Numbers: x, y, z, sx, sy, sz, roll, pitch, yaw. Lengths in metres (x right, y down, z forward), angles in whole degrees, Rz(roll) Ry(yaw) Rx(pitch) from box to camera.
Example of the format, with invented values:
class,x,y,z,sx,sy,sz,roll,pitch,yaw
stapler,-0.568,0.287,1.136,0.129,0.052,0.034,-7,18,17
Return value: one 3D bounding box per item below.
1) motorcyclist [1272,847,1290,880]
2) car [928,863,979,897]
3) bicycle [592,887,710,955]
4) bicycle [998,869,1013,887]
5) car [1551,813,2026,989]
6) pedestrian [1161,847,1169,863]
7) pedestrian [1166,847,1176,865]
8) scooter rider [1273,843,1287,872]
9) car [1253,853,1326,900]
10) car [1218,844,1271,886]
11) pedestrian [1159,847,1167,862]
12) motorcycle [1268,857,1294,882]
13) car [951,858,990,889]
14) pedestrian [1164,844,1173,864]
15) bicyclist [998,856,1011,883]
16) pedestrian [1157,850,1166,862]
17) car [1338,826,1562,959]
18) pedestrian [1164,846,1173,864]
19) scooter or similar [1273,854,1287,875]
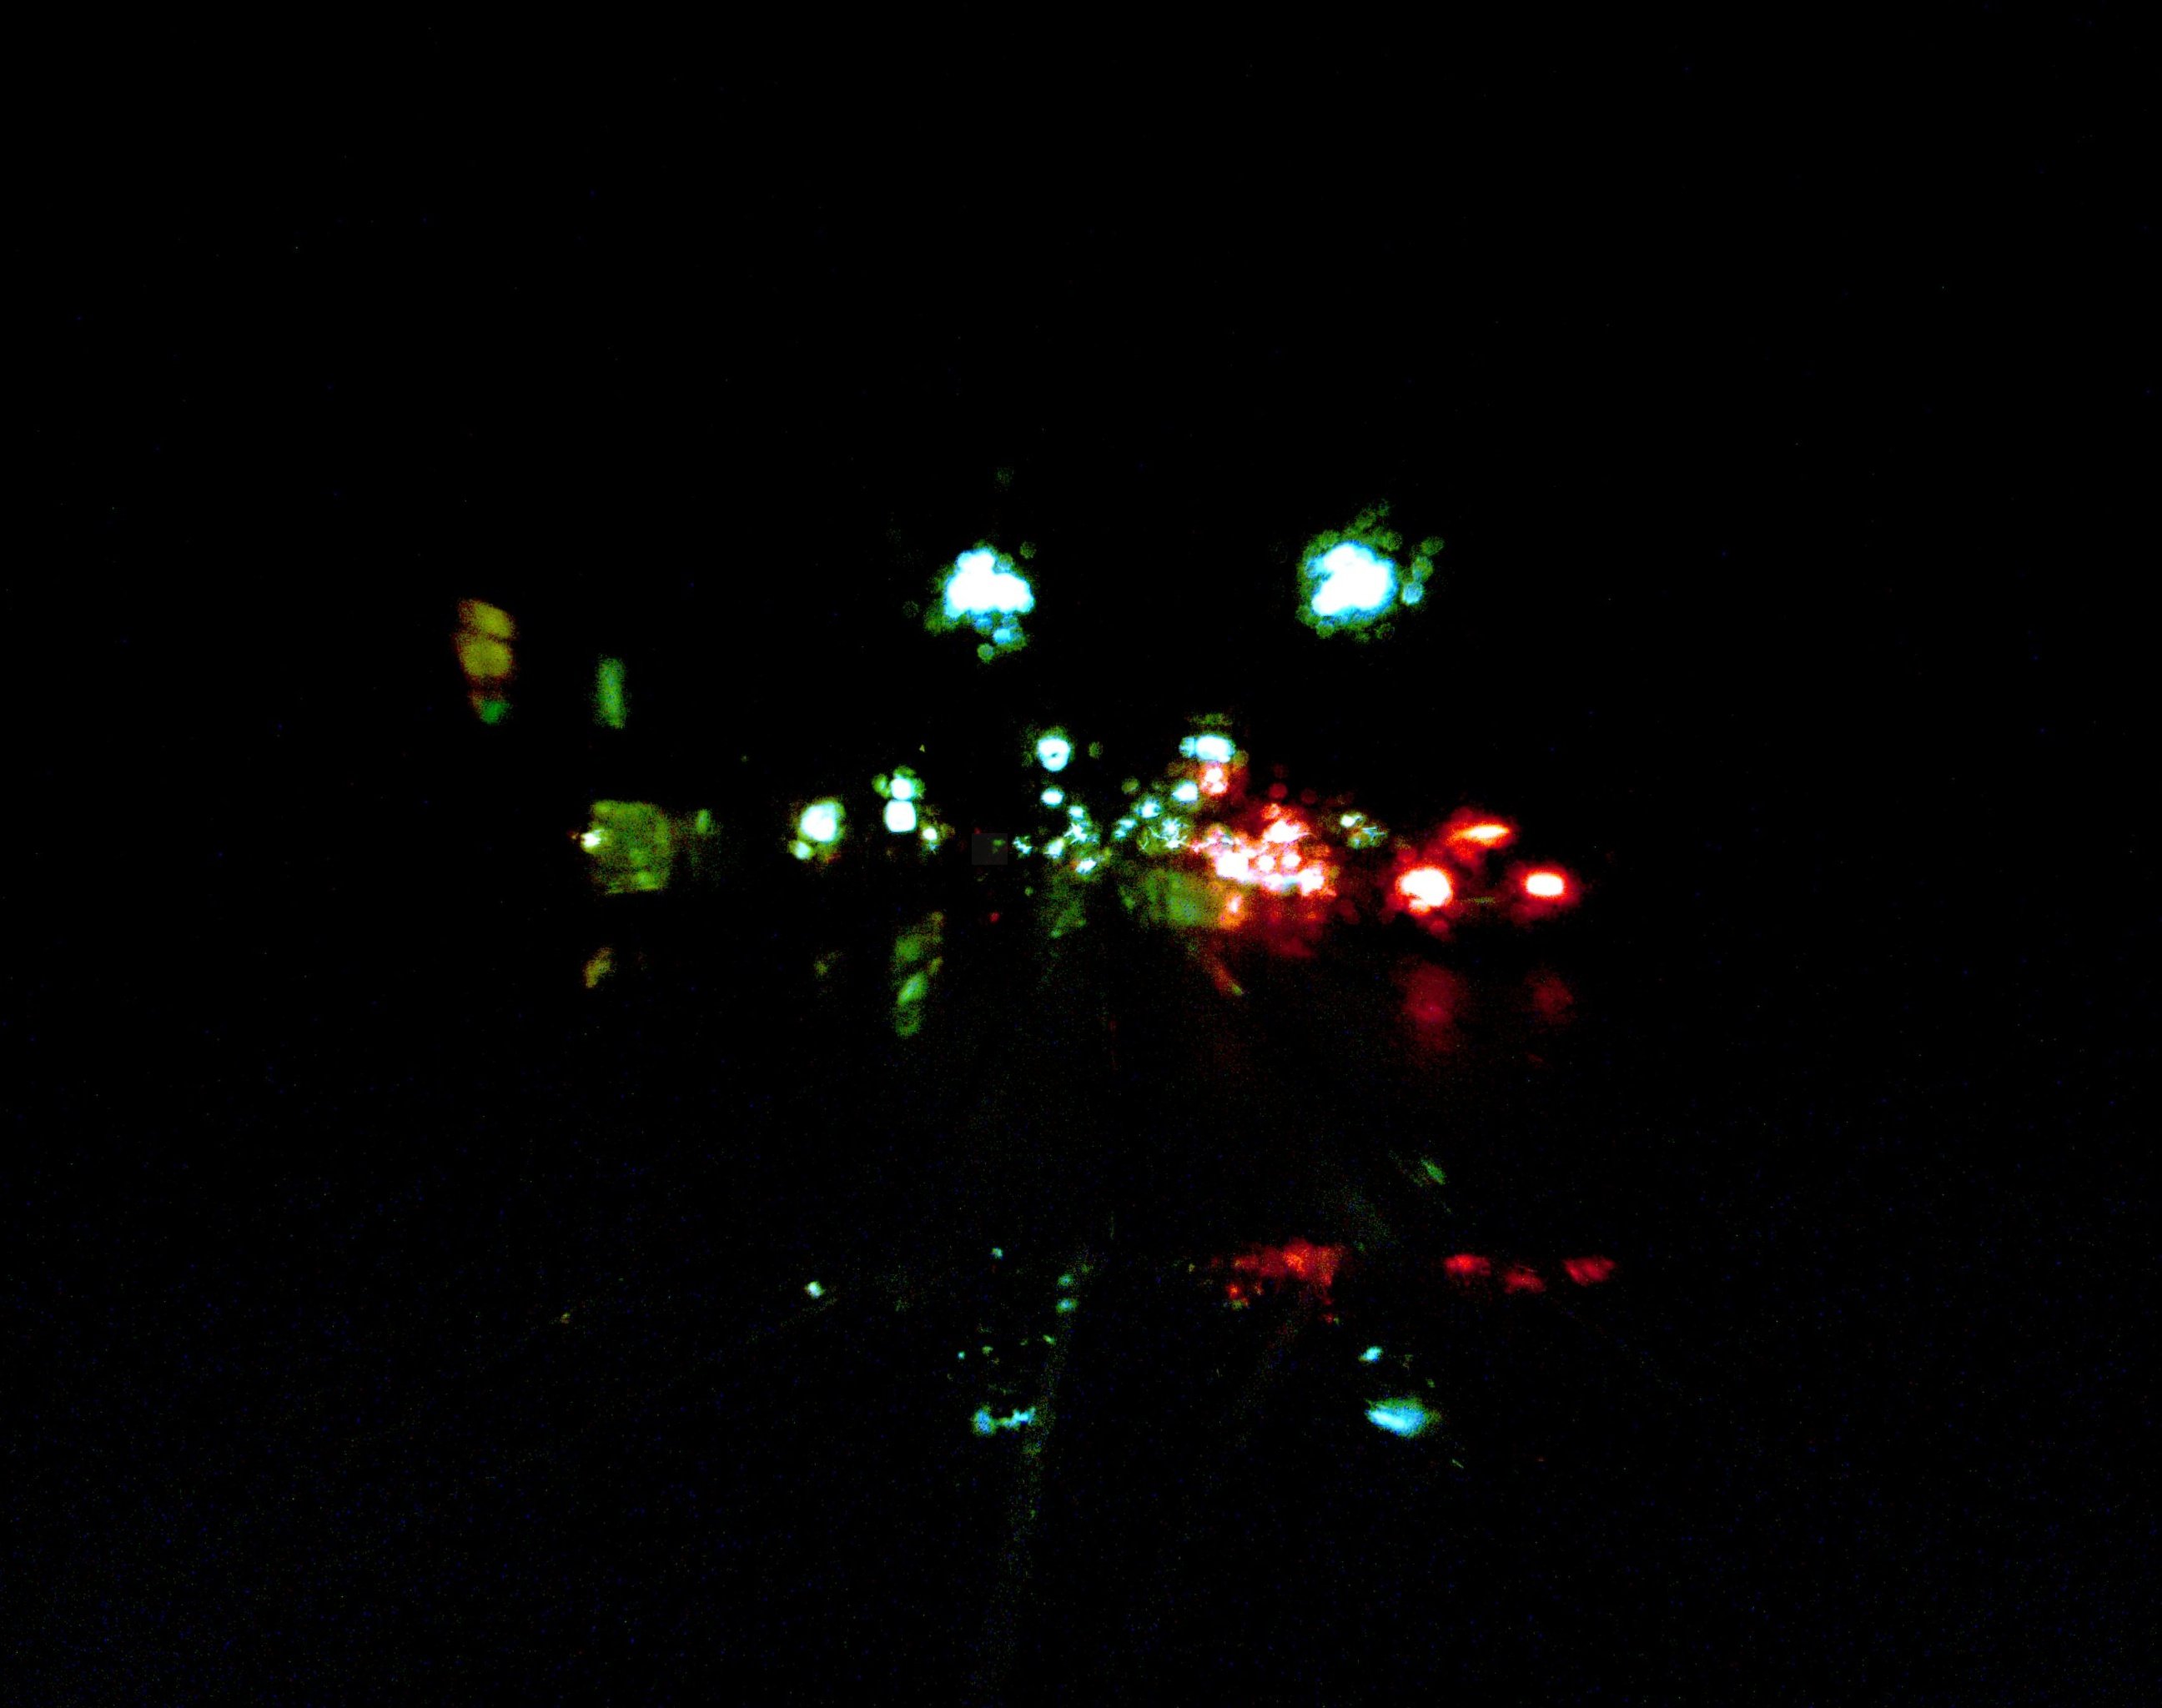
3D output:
class,x,y,z,sx,sy,sz,roll,pitch,yaw
motorcyclist,10.616,0.475,40.363,0.709,1.721,1.028,0,2,-1
car,-6.008,1.188,36.199,1.649,1.433,4.055,2,0,0
bicycle,-7.699,1.193,13.654,1.818,1.157,0.492,0,2,-1
bicycle,-4.502,1.420,45.071,0.572,0.964,1.778,-5,1,-14
car,9.632,0.550,11.232,1.998,1.815,5.309,-5,0,1
pedestrian,8.806,0.067,79.474,0.400,1.620,0.531,-6,2,-42
pedestrian,8.776,0.201,74.169,0.671,1.764,0.716,-5,2,-8
scooter rider,11.132,0.171,42.464,0.641,1.564,0.653,-4,2,12
car,7.149,0.714,26.430,1.796,1.456,3.903,-2,0,6
car,7.950,0.484,37.338,1.899,1.858,4.537,-1,1,4
pedestrian,8.844,0.071,81.877,0.480,1.519,0.585,-5,2,-16
motorcycle,10.617,0.815,40.378,0.709,1.223,2.325,0,1,-1
car,-6.008,1.034,41.479,1.652,1.516,3.579,2,0,-1
pedestrian,9.003,-0.026,77.981,0.609,1.975,0.858,-5,2,-2
bicyclist,-4.525,0.915,45.023,0.572,1.539,0.815,-5,2,-14
pedestrian,8.609,0.242,80.845,0.586,1.246,0.623,-6,2,-42
car,5.970,0.549,13.028,1.930,1.868,4.639,-1,0,5
pedestrian,8.781,0.063,76.269,0.716,1.764,0.671,-4,2,4
scooter or similar,11.118,0.589,42.489,0.641,1.046,1.370,-4,1,12
